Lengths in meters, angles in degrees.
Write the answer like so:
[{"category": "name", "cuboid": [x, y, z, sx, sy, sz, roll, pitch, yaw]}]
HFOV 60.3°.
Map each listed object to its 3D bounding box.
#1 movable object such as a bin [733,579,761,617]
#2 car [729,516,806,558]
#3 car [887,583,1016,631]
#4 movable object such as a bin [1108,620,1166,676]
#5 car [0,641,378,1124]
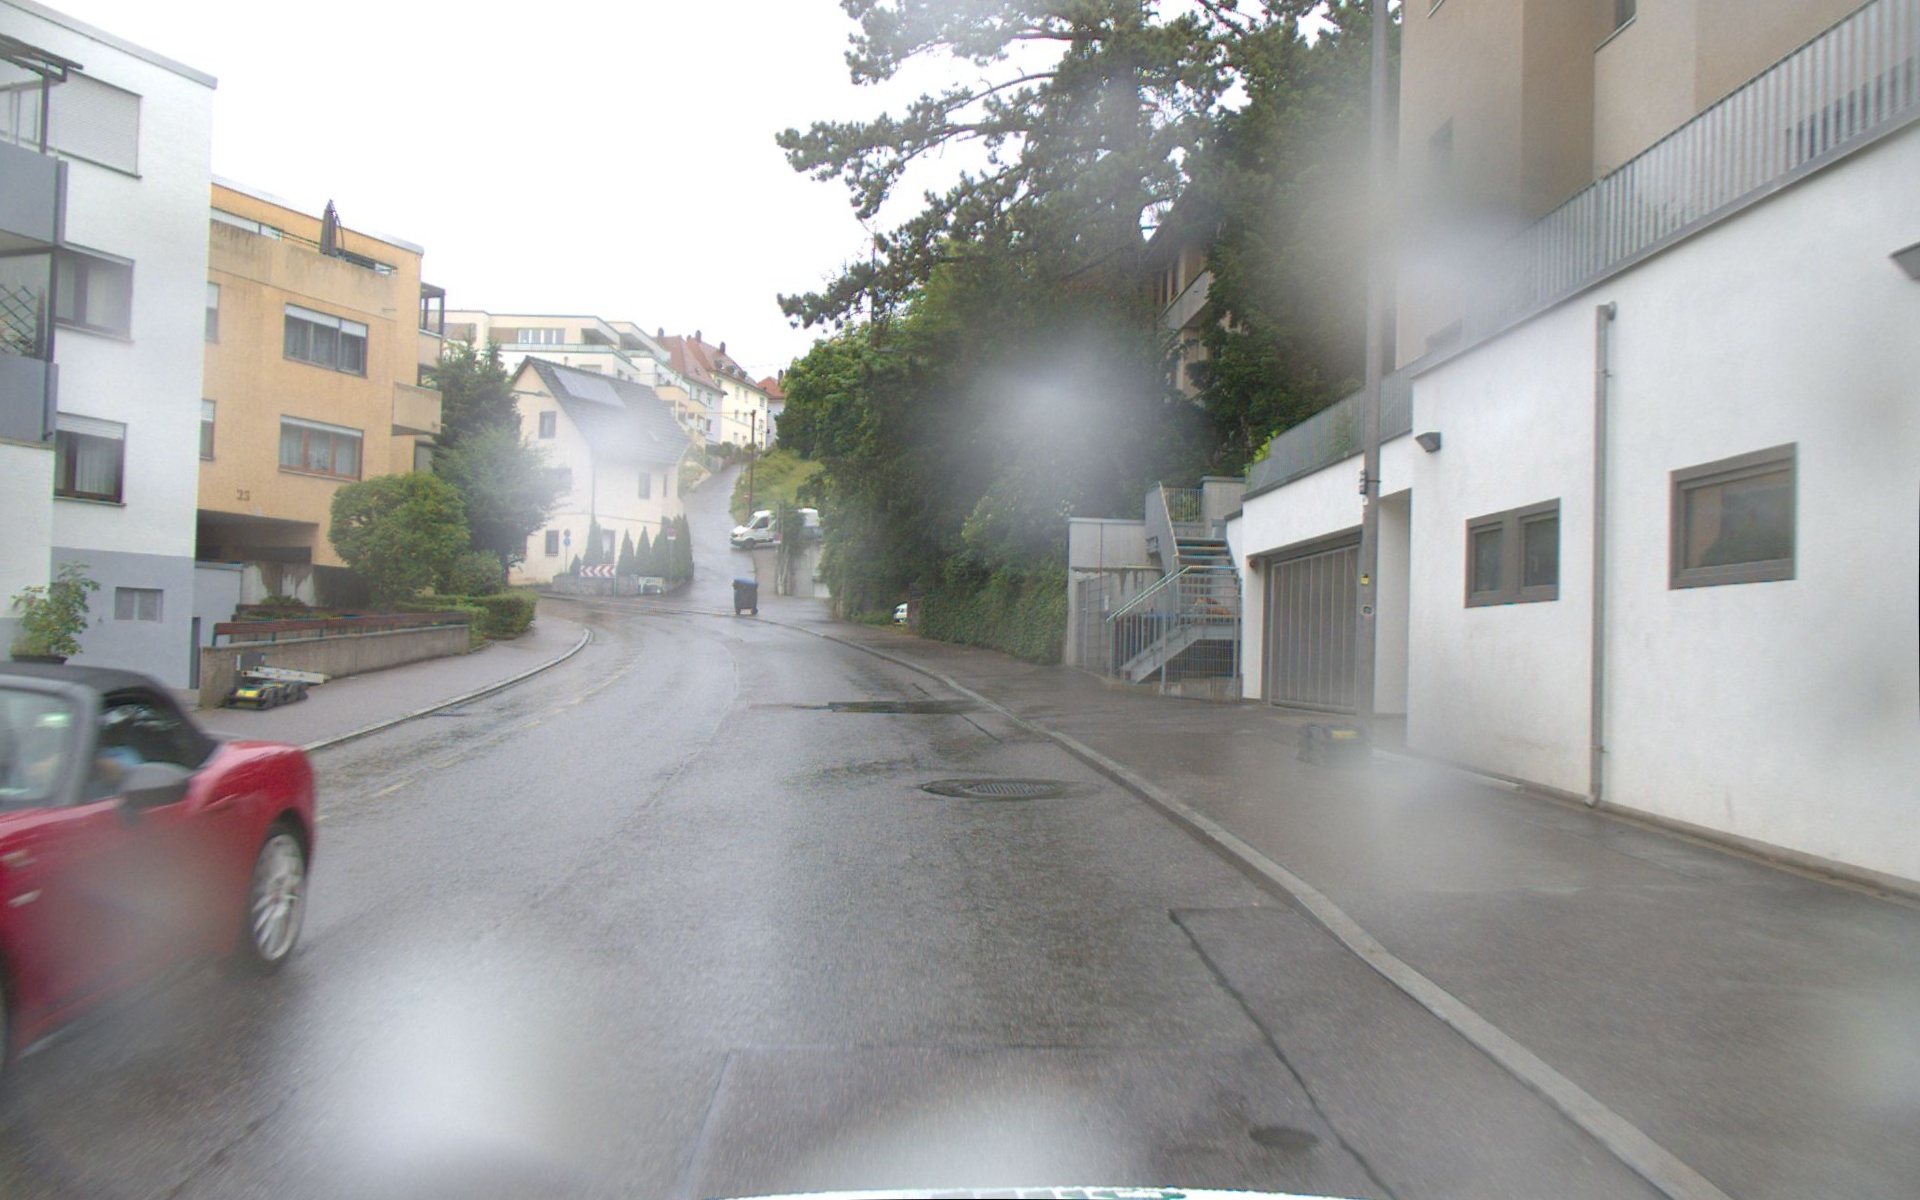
[{"category": "movable object such as a bin", "cuboid": [-8.716, -0.089, 67.649, 1.061, 1.467, 1.455, 2, 0, -7]}, {"category": "car", "cuboid": [-12.653, -4.140, 108.721, 4.859, 2.614, 1.897, -1, 1, -14]}, {"category": "car", "cuboid": [-0.294, 0.212, 55.497, 4.068, 1.502, 1.900, -1, 1, -11]}, {"category": "movable object such as a bin", "cuboid": [3.139, 0.840, 29.300, 0.858, 0.957, 0.745, 1, 0, -8]}, {"category": "car", "cuboid": [-3.379, 0.782, 5.408, 1.645, 1.166, 3.998, 1, 0, -2]}]
